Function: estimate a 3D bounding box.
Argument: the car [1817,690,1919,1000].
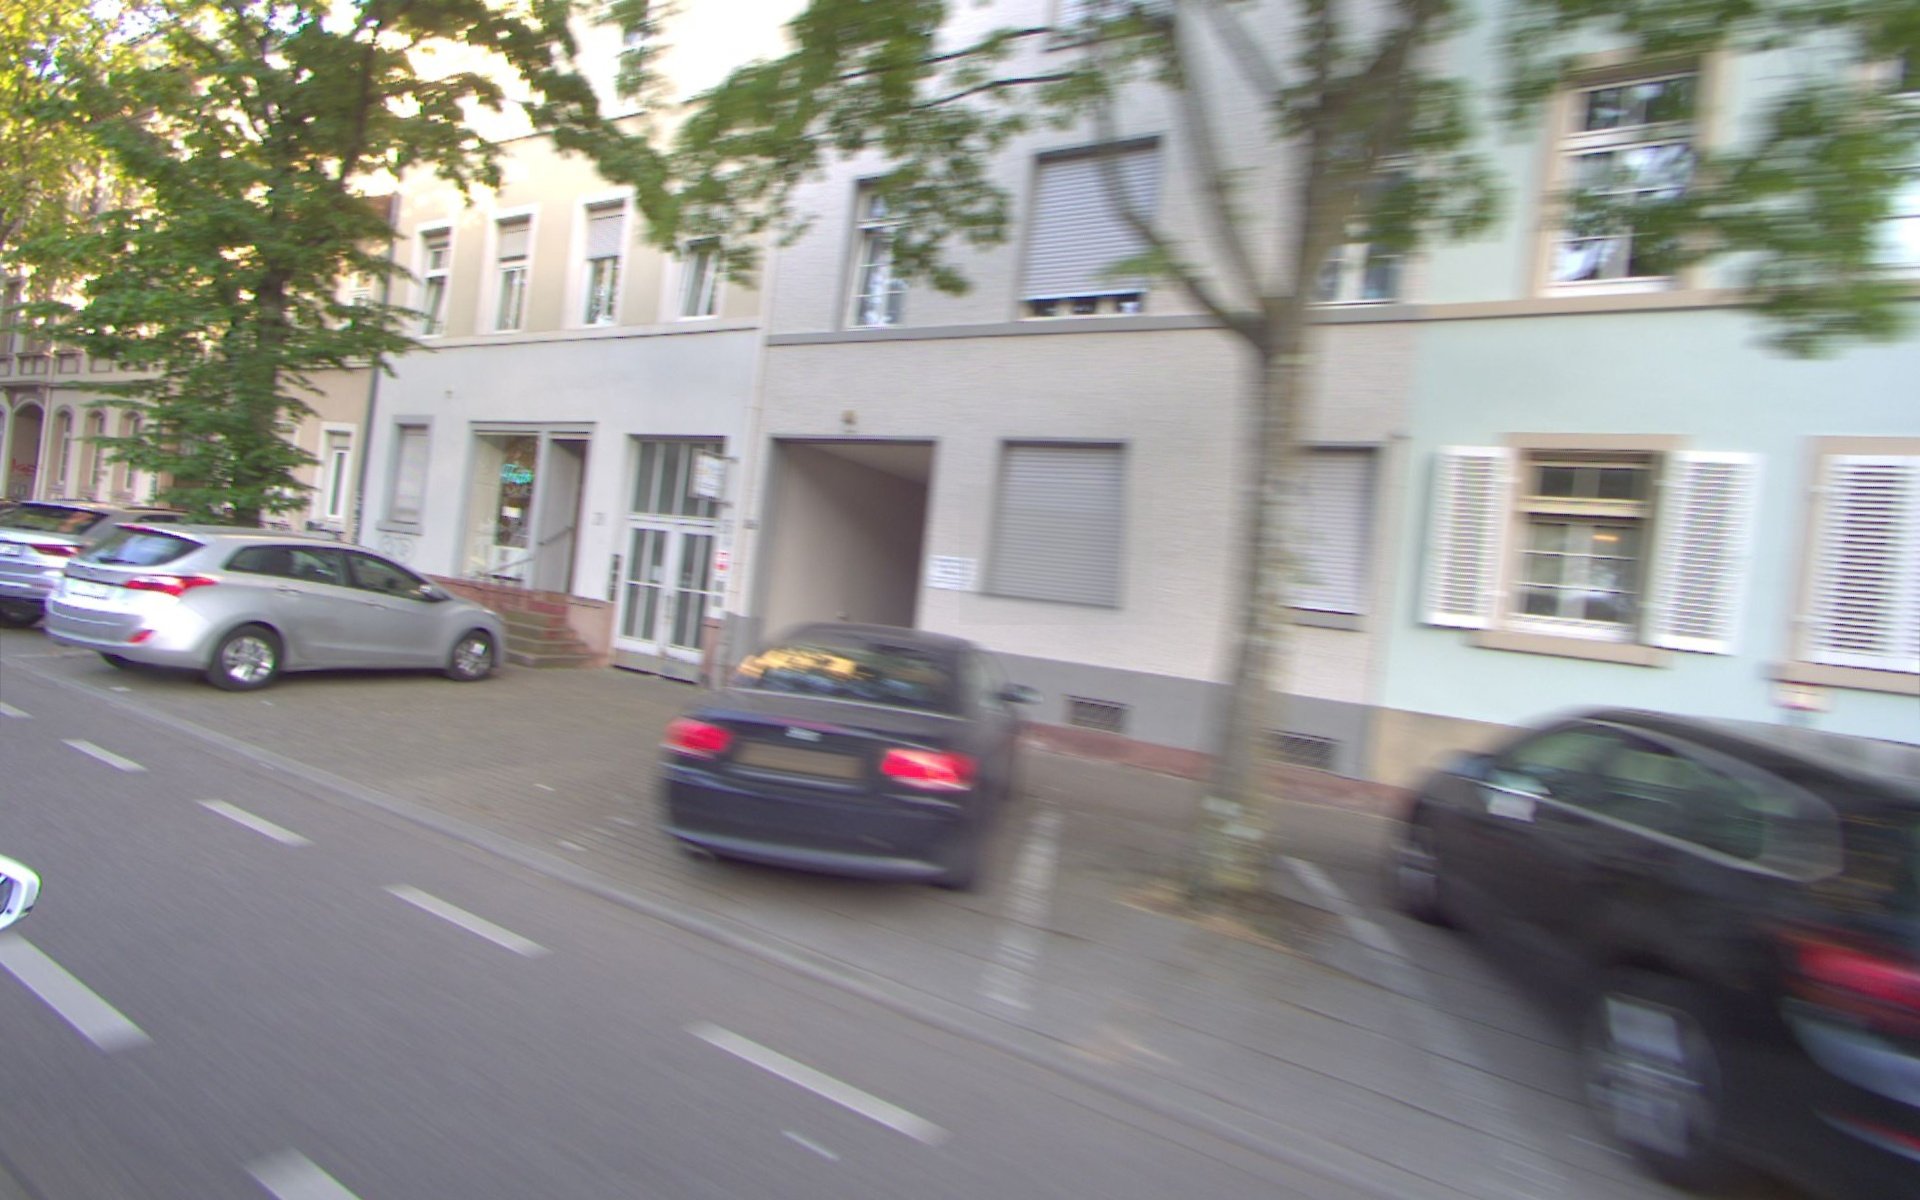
[{"bbox_3d":[5.638,1.378,3.504,1.949,1.490,4.127,6,2,7],"label":"car"}]

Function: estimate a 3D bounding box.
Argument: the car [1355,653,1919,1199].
[{"bbox_3d":[3.364,1.219,4.353,1.977,1.490,4.127,6,2,7],"label":"car"}]

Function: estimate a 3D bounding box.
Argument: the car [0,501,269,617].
[{"bbox_3d":[-12.595,-0.574,14.632,1.861,1.442,4.135,6,0,6],"label":"car"}]

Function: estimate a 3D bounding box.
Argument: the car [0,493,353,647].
[{"bbox_3d":[-10.294,-0.347,12.926,1.861,1.580,4.265,6,0,9],"label":"car"}]

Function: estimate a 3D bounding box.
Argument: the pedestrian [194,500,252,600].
[{"bbox_3d":[-14.276,-0.955,19.494,0.597,1.836,0.566,7,0,31],"label":"pedestrian"}]

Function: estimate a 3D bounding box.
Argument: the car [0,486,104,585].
[{"bbox_3d":[-17.998,-1.305,17.766,1.889,1.640,3.953,6,0,32],"label":"car"}]

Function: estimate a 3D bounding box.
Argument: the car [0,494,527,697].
[{"bbox_3d":[-7.064,0.013,10.730,1.982,1.568,4.263,7,0,21],"label":"car"}]

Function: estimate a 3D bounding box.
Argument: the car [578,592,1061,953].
[{"bbox_3d":[-0.472,0.809,6.753,1.977,1.409,4.265,6,0,8],"label":"car"}]

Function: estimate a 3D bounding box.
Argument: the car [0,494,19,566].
[{"bbox_3d":[-21.402,-1.608,19.699,1.884,1.505,3.964,6,0,8],"label":"car"}]

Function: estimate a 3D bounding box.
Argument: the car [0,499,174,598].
[{"bbox_3d":[-15.248,-0.882,16.005,1.884,1.442,4.135,6,0,6],"label":"car"}]
